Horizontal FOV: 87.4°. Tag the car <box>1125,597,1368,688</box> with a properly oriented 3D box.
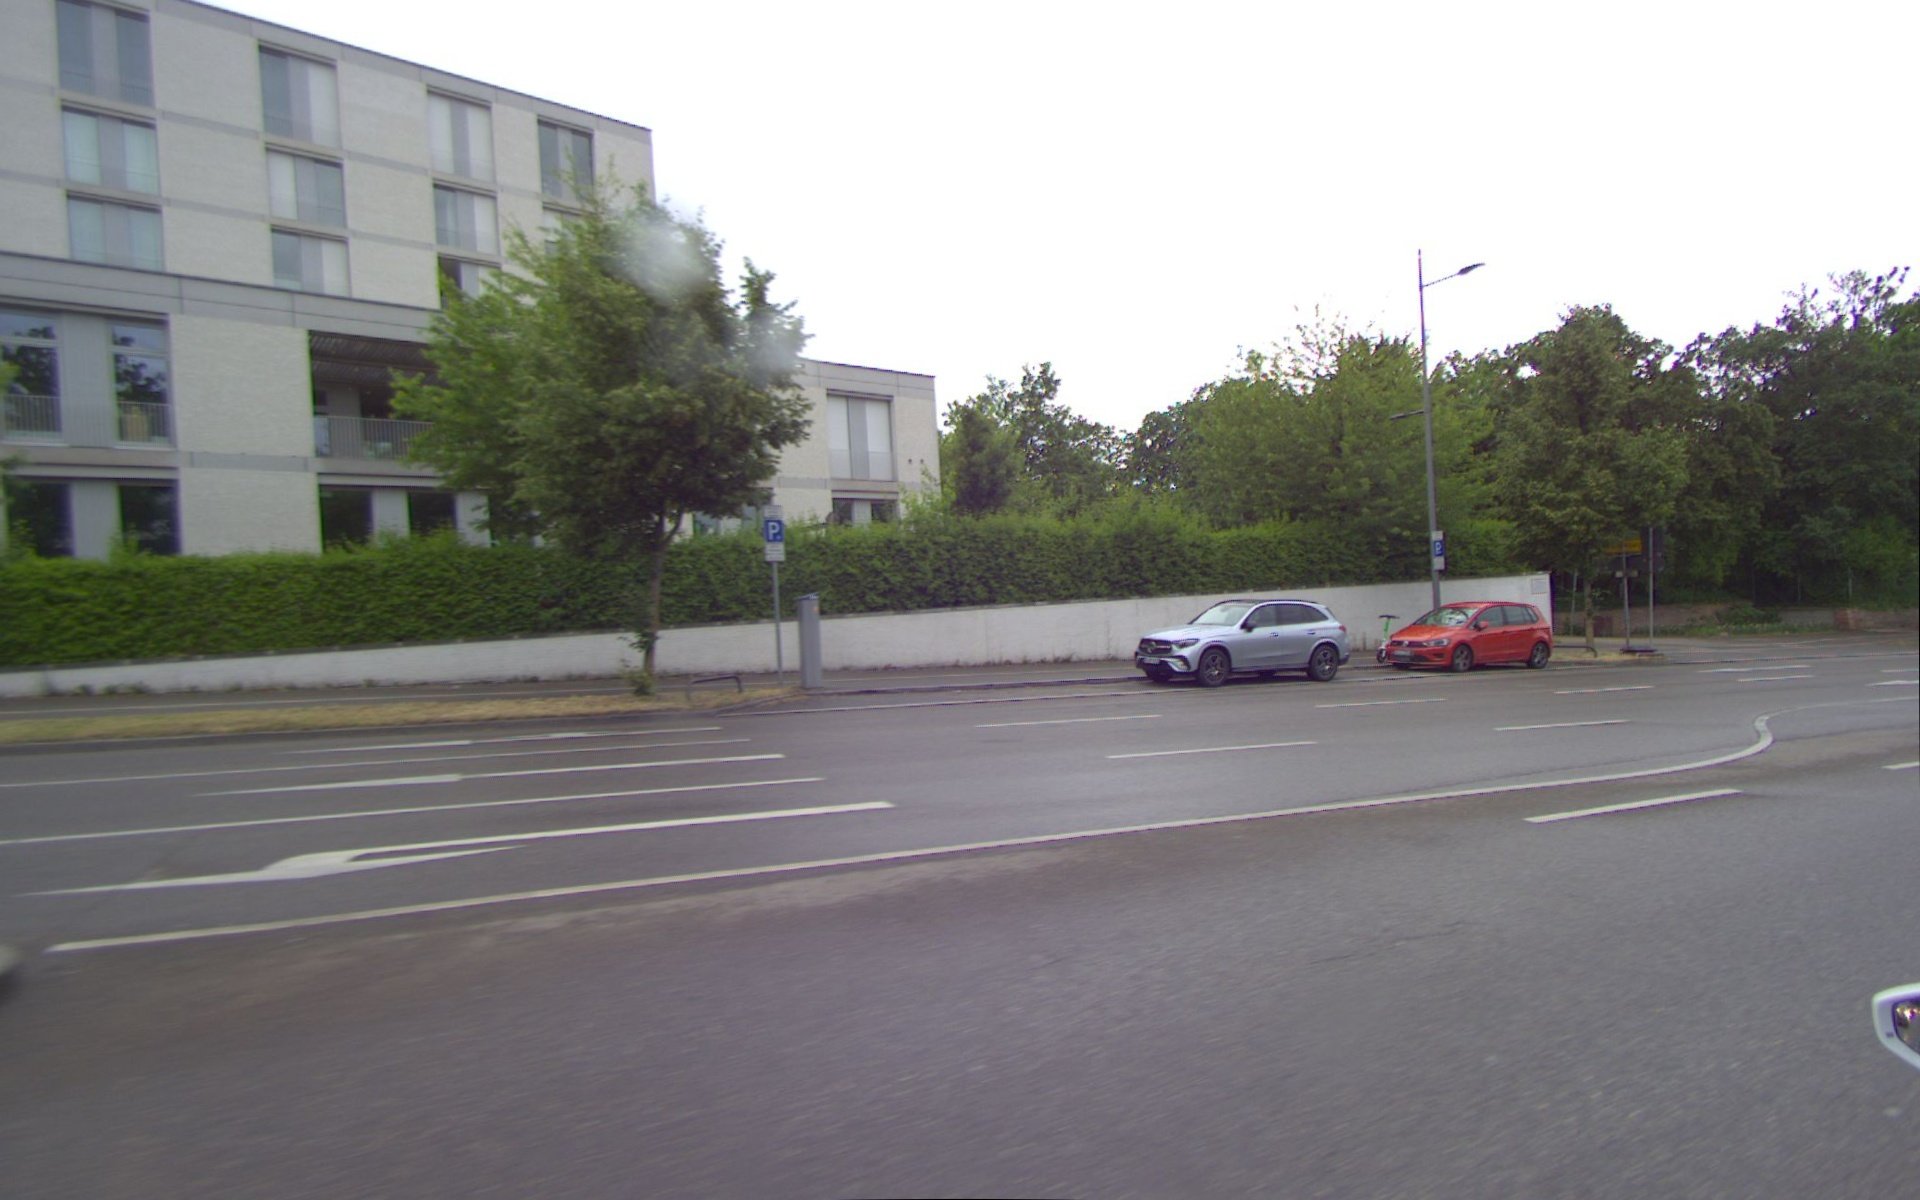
[{"bbox_3d":[5.858,0.791,20.460,4.818,1.675,1.758,0,1,-26],"label":"car"}]

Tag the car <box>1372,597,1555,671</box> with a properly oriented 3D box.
[{"bbox_3d":[11.797,0.757,23.508,4.160,1.608,1.660,0,-1,-26],"label":"car"}]
